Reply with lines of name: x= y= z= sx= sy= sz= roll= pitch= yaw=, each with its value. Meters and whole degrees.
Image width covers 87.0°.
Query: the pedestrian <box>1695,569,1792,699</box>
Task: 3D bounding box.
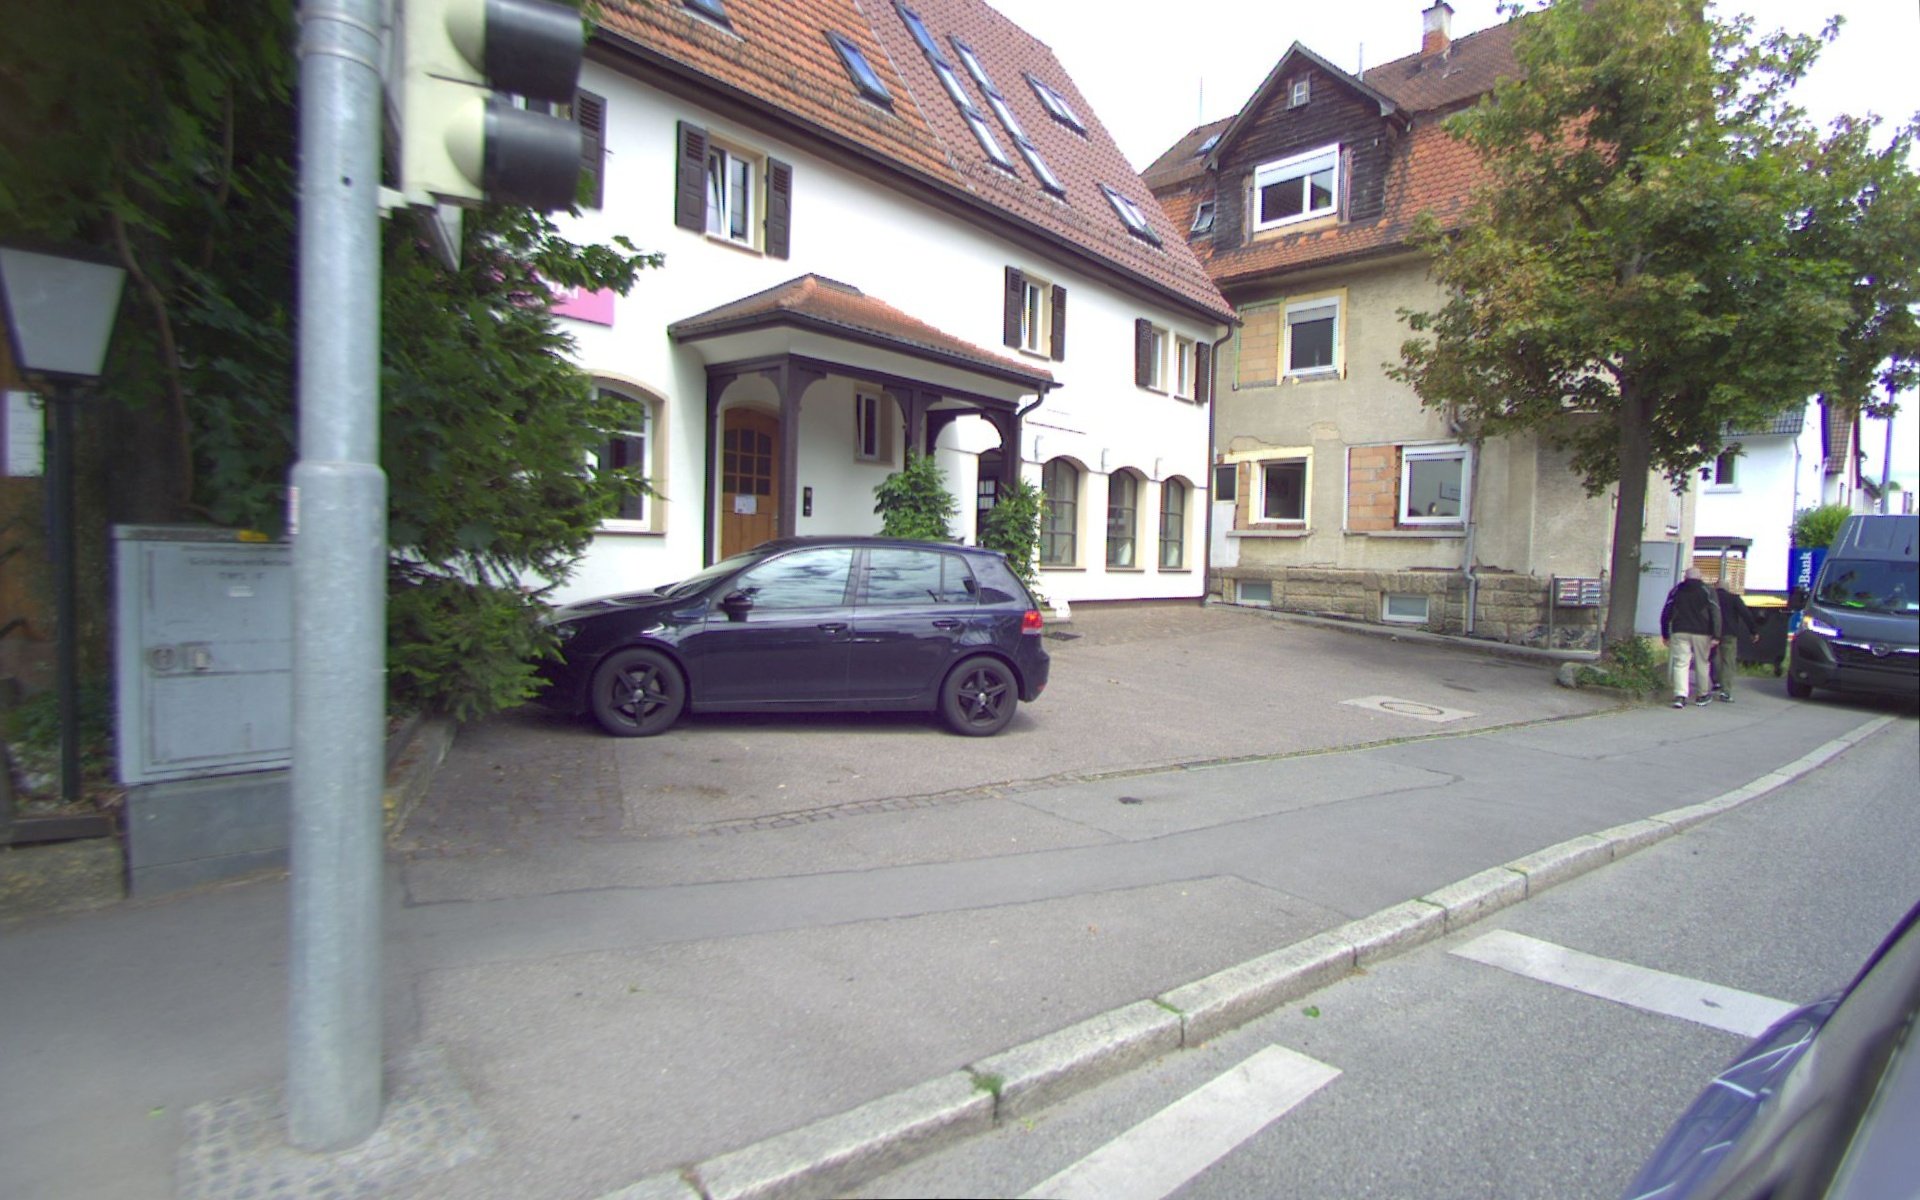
pedestrian: x=10.501 y=0.428 z=13.568 sx=0.783 sy=1.663 sz=0.787 roll=1 pitch=2 yaw=-36

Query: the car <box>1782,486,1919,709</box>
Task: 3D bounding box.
car: x=14.213 y=-0.044 z=14.891 sx=6.139 sy=2.805 sz=2.152 roll=0 pitch=2 yaw=-41

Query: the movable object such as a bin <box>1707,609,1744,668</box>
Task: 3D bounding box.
movable object such as a bin: x=13.028 y=0.652 z=17.227 sx=0.408 sy=0.949 sz=0.270 roll=7 pitch=5 yaw=37

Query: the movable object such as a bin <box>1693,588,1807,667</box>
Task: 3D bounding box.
movable object such as a bin: x=13.873 y=0.449 z=17.816 sx=1.170 sy=1.281 sz=1.203 roll=2 pitch=2 yaw=17

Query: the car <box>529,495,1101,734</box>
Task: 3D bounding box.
car: x=-1.139 y=0.092 z=8.045 sx=3.992 sy=1.535 sz=1.763 roll=3 pitch=5 yaw=-17

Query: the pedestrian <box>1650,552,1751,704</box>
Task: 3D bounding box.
pedestrian: x=9.210 y=0.315 z=12.586 sx=0.883 sy=1.804 sz=0.742 roll=0 pitch=2 yaw=-38
